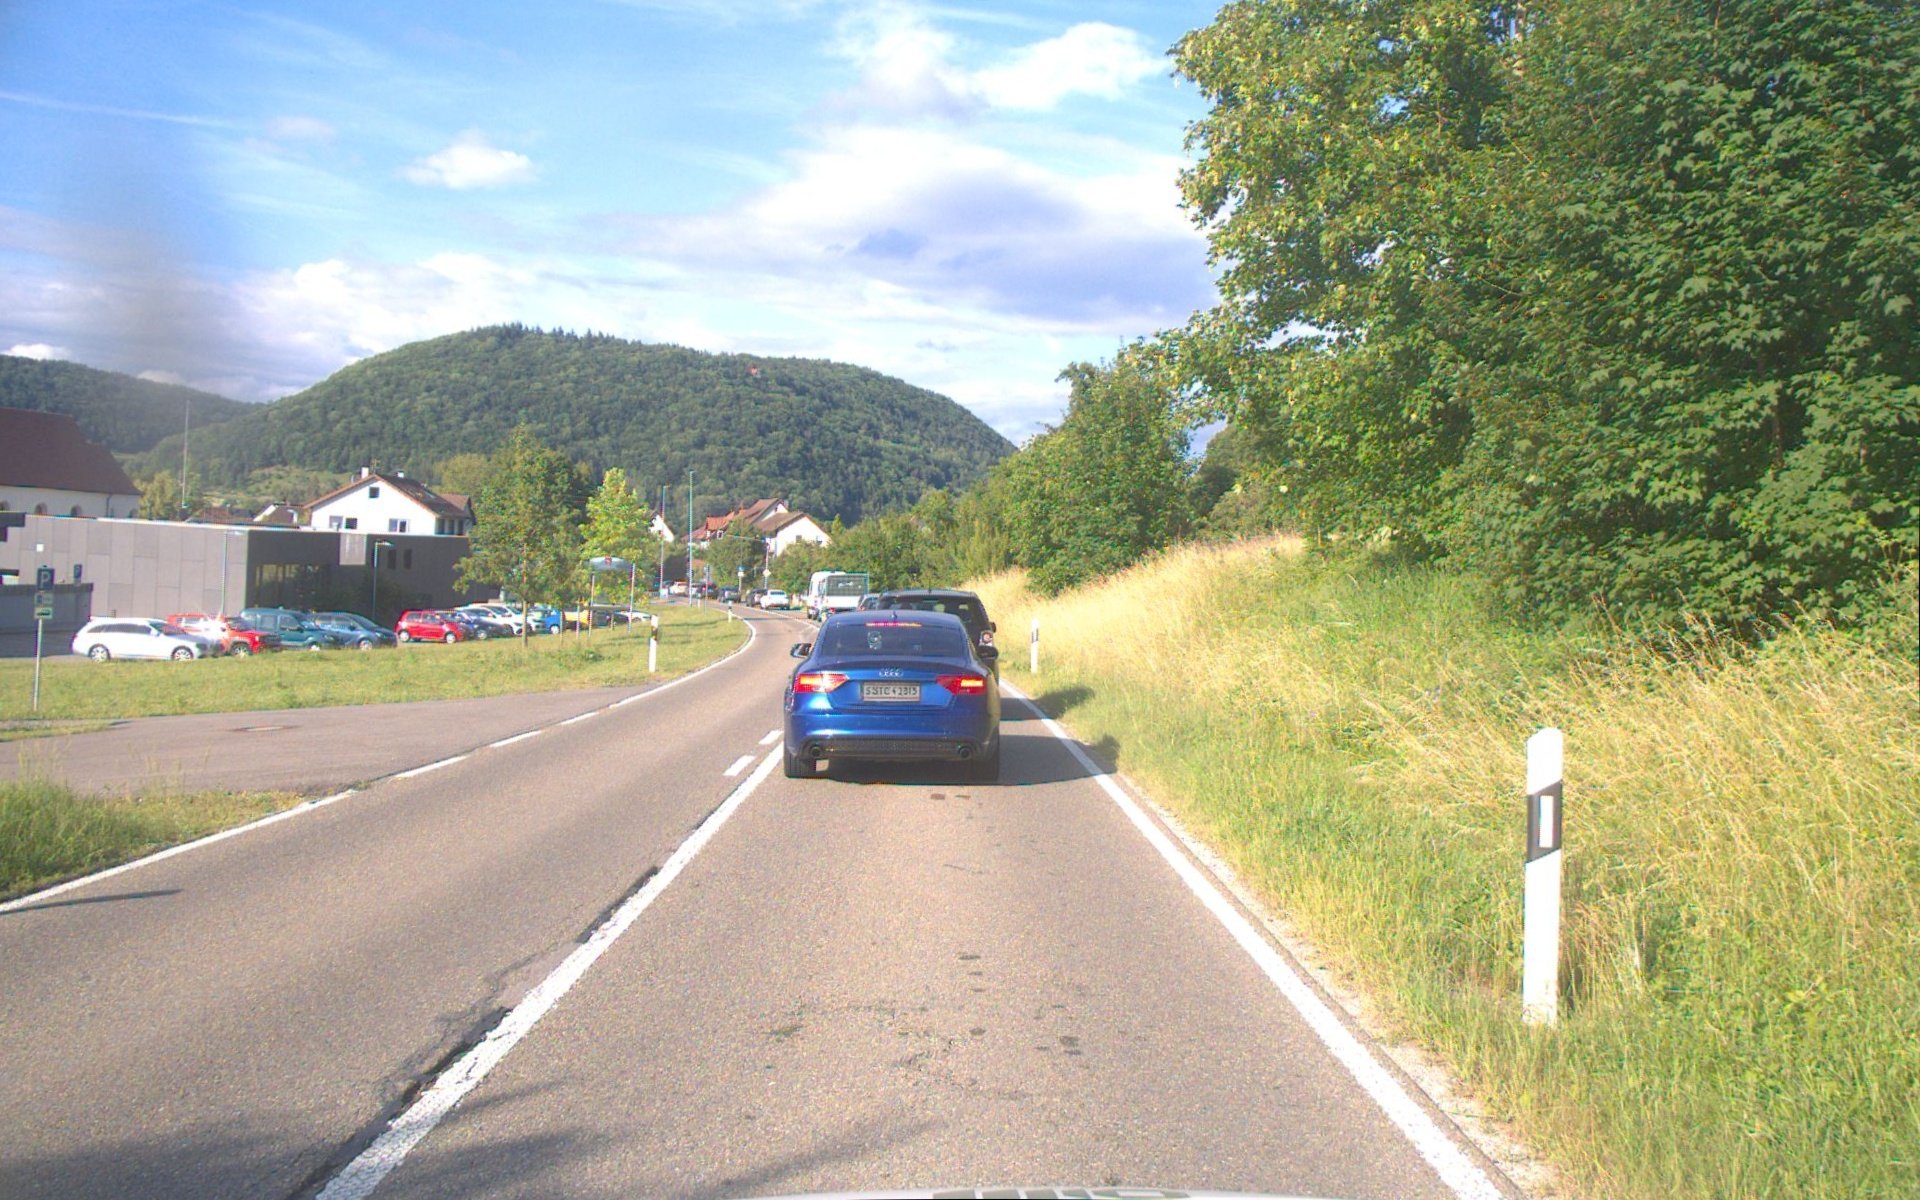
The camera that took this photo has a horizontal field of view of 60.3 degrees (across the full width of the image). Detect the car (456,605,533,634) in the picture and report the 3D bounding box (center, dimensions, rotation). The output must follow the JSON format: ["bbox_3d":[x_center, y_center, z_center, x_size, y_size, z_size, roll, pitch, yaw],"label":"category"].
[{"bbox_3d":[-24.833,1.030,88.295,3.589,1.520,1.597,0,0,4],"label":"car"}]

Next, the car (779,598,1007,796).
[{"bbox_3d":[-0.513,0.746,14.440,1.707,1.476,3.516,2,0,0],"label":"car"}]

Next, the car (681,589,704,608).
[{"bbox_3d":[-28.158,-0.168,174.041,1.652,1.958,3.976,0,0,-20],"label":"car"}]

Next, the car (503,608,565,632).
[{"bbox_3d":[-25.117,1.173,97.564,3.302,1.397,1.659,0,0,-4],"label":"car"}]

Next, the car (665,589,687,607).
[{"bbox_3d":[-31.293,-0.234,182.004,1.652,1.958,3.976,0,0,-20],"label":"car"}]

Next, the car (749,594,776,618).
[{"bbox_3d":[-15.900,0.480,133.220,1.632,1.958,3.984,0,0,-15],"label":"car"}]

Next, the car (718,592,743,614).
[{"bbox_3d":[-21.039,0.246,151.337,1.634,1.958,3.979,0,0,-18],"label":"car"}]

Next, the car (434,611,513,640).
[{"bbox_3d":[-25.044,1.301,85.128,3.548,1.430,1.597,0,-3,4],"label":"car"}]

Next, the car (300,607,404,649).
[{"bbox_3d":[-25.690,1.170,69.929,3.738,1.752,1.733,0,0,3],"label":"car"}]

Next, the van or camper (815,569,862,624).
[{"bbox_3d":[-6.488,-0.183,87.725,2.237,2.761,5.760,2,0,-6],"label":"van or camper"}]

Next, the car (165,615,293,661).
[{"bbox_3d":[-26.371,1.361,59.721,3.837,1.606,1.756,0,0,3],"label":"car"}]

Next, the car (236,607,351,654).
[{"bbox_3d":[-26.236,1.190,65.198,3.782,1.752,1.756,1,0,1],"label":"car"}]

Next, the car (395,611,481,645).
[{"bbox_3d":[-25.246,1.348,80.038,3.548,1.469,1.649,1,1,4],"label":"car"}]

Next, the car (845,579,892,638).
[{"bbox_3d":[-3.305,0.285,59.168,1.537,2.049,3.996,-1,0,-5],"label":"car"}]

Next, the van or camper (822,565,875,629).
[{"bbox_3d":[-4.786,-0.121,70.246,2.012,2.549,5.803,-1,0,-6],"label":"van or camper"}]

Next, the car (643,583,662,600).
[{"bbox_3d":[-36.753,-0.975,197.543,1.652,1.958,3.976,0,0,-20],"label":"car"}]

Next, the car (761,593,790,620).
[{"bbox_3d":[-13.638,0.462,122.099,1.631,1.958,3.986,-1,0,-13],"label":"car"}]

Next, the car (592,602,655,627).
[{"bbox_3d":[-23.341,0.980,114.819,3.950,1.689,1.656,0,0,4],"label":"car"}]

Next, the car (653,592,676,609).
[{"bbox_3d":[-33.969,0.054,190.009,1.926,1.958,3.976,0,0,-20],"label":"car"}]

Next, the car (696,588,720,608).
[{"bbox_3d":[-25.266,-0.176,165.595,1.652,1.958,3.977,0,0,-19],"label":"car"}]

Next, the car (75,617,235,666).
[{"bbox_3d":[-27.562,1.399,56.709,4.543,1.616,2.001,0,0,3],"label":"car"}]

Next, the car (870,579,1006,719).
[{"bbox_3d":[-0.355,0.594,21.866,1.613,1.653,3.515,2,0,-3],"label":"car"}]

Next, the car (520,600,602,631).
[{"bbox_3d":[-24.166,0.945,100.146,4.457,1.846,1.842,0,0,4],"label":"car"}]
